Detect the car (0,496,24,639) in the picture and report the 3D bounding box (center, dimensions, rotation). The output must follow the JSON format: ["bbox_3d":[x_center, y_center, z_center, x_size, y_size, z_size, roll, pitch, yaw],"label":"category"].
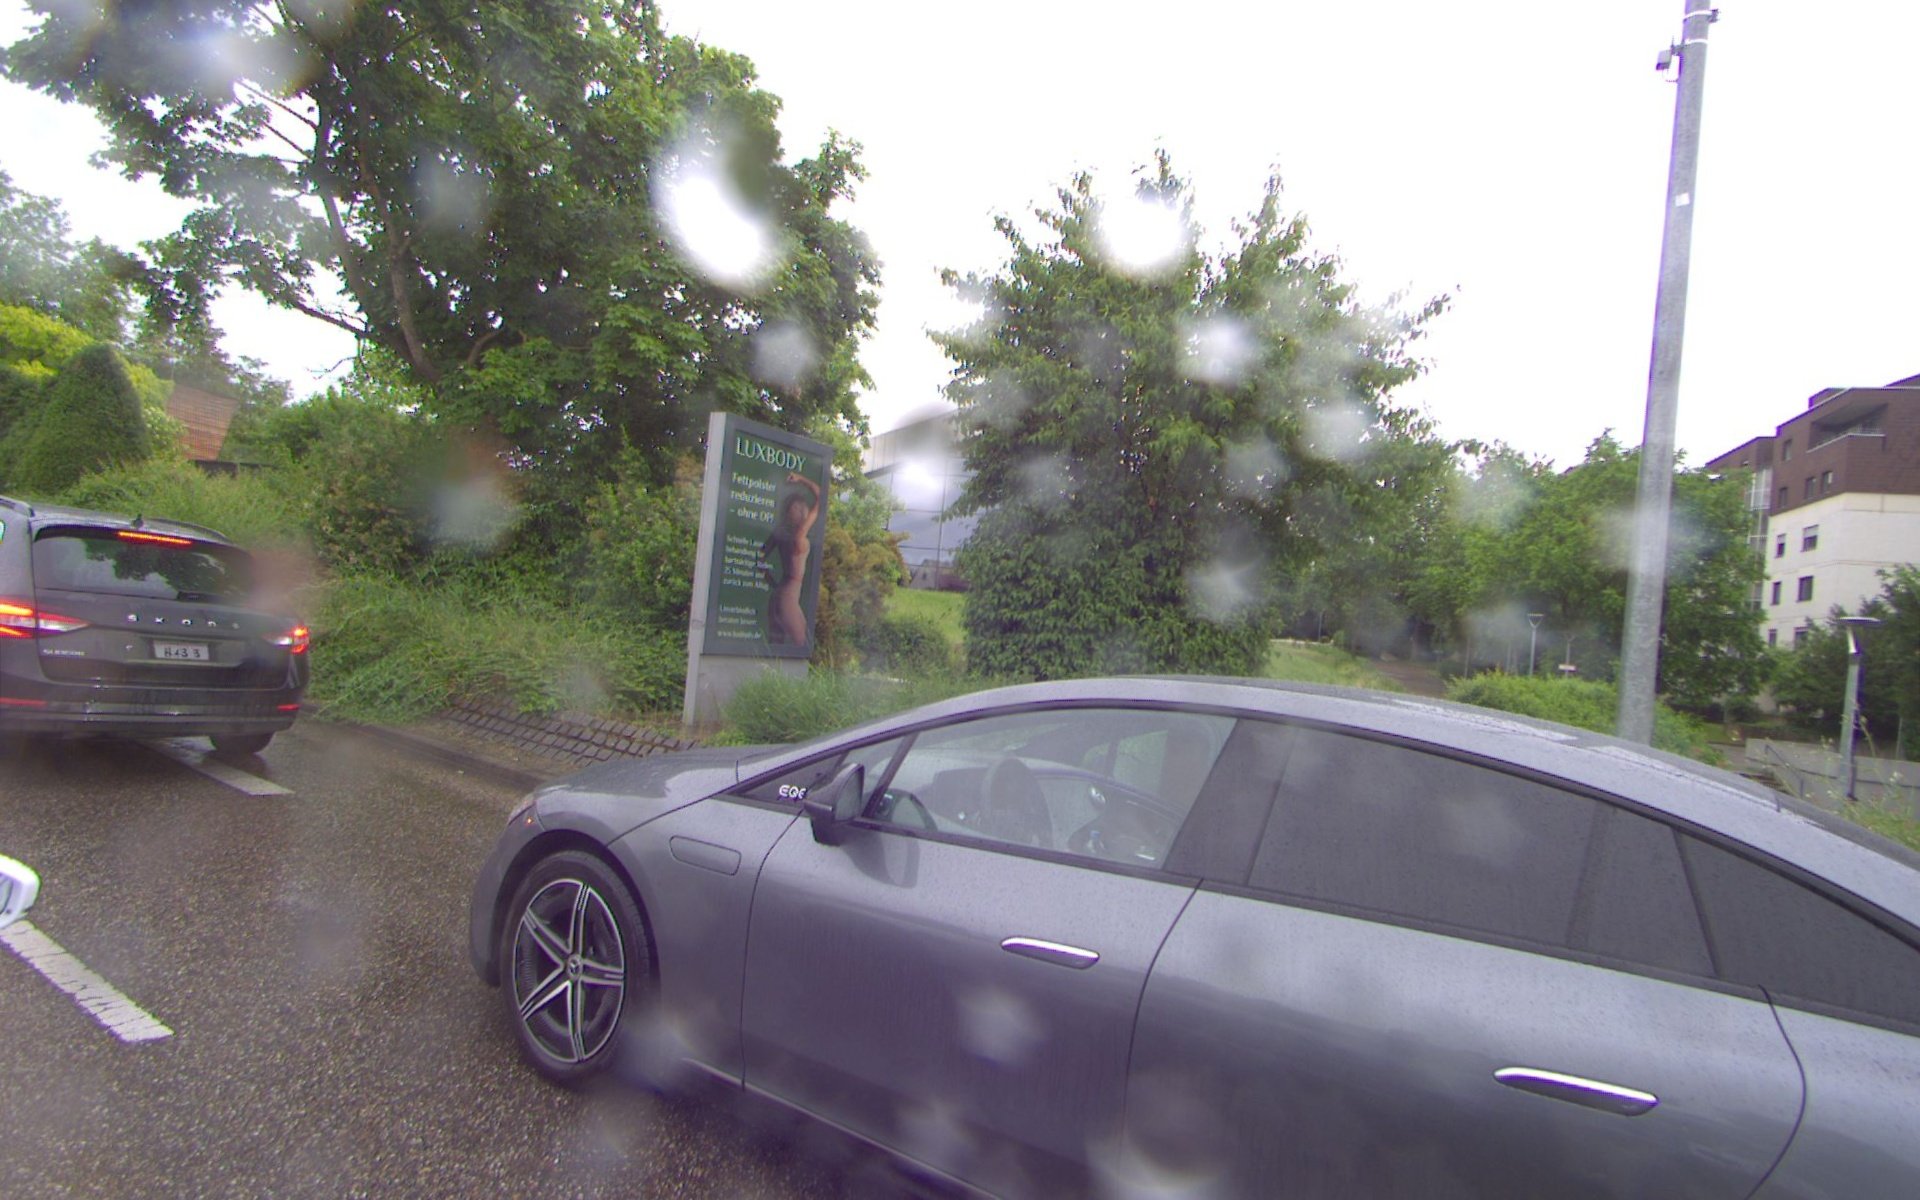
[{"bbox_3d":[-12.147,-0.639,10.862,4.048,1.483,1.842,7,-2,31],"label":"car"}]

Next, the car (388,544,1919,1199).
[{"bbox_3d":[0.654,0.898,2.933,4.728,1.483,1.842,7,-2,31],"label":"car"}]

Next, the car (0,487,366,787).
[{"bbox_3d":[-6.127,0.053,6.774,4.279,1.483,1.841,7,-2,33],"label":"car"}]
